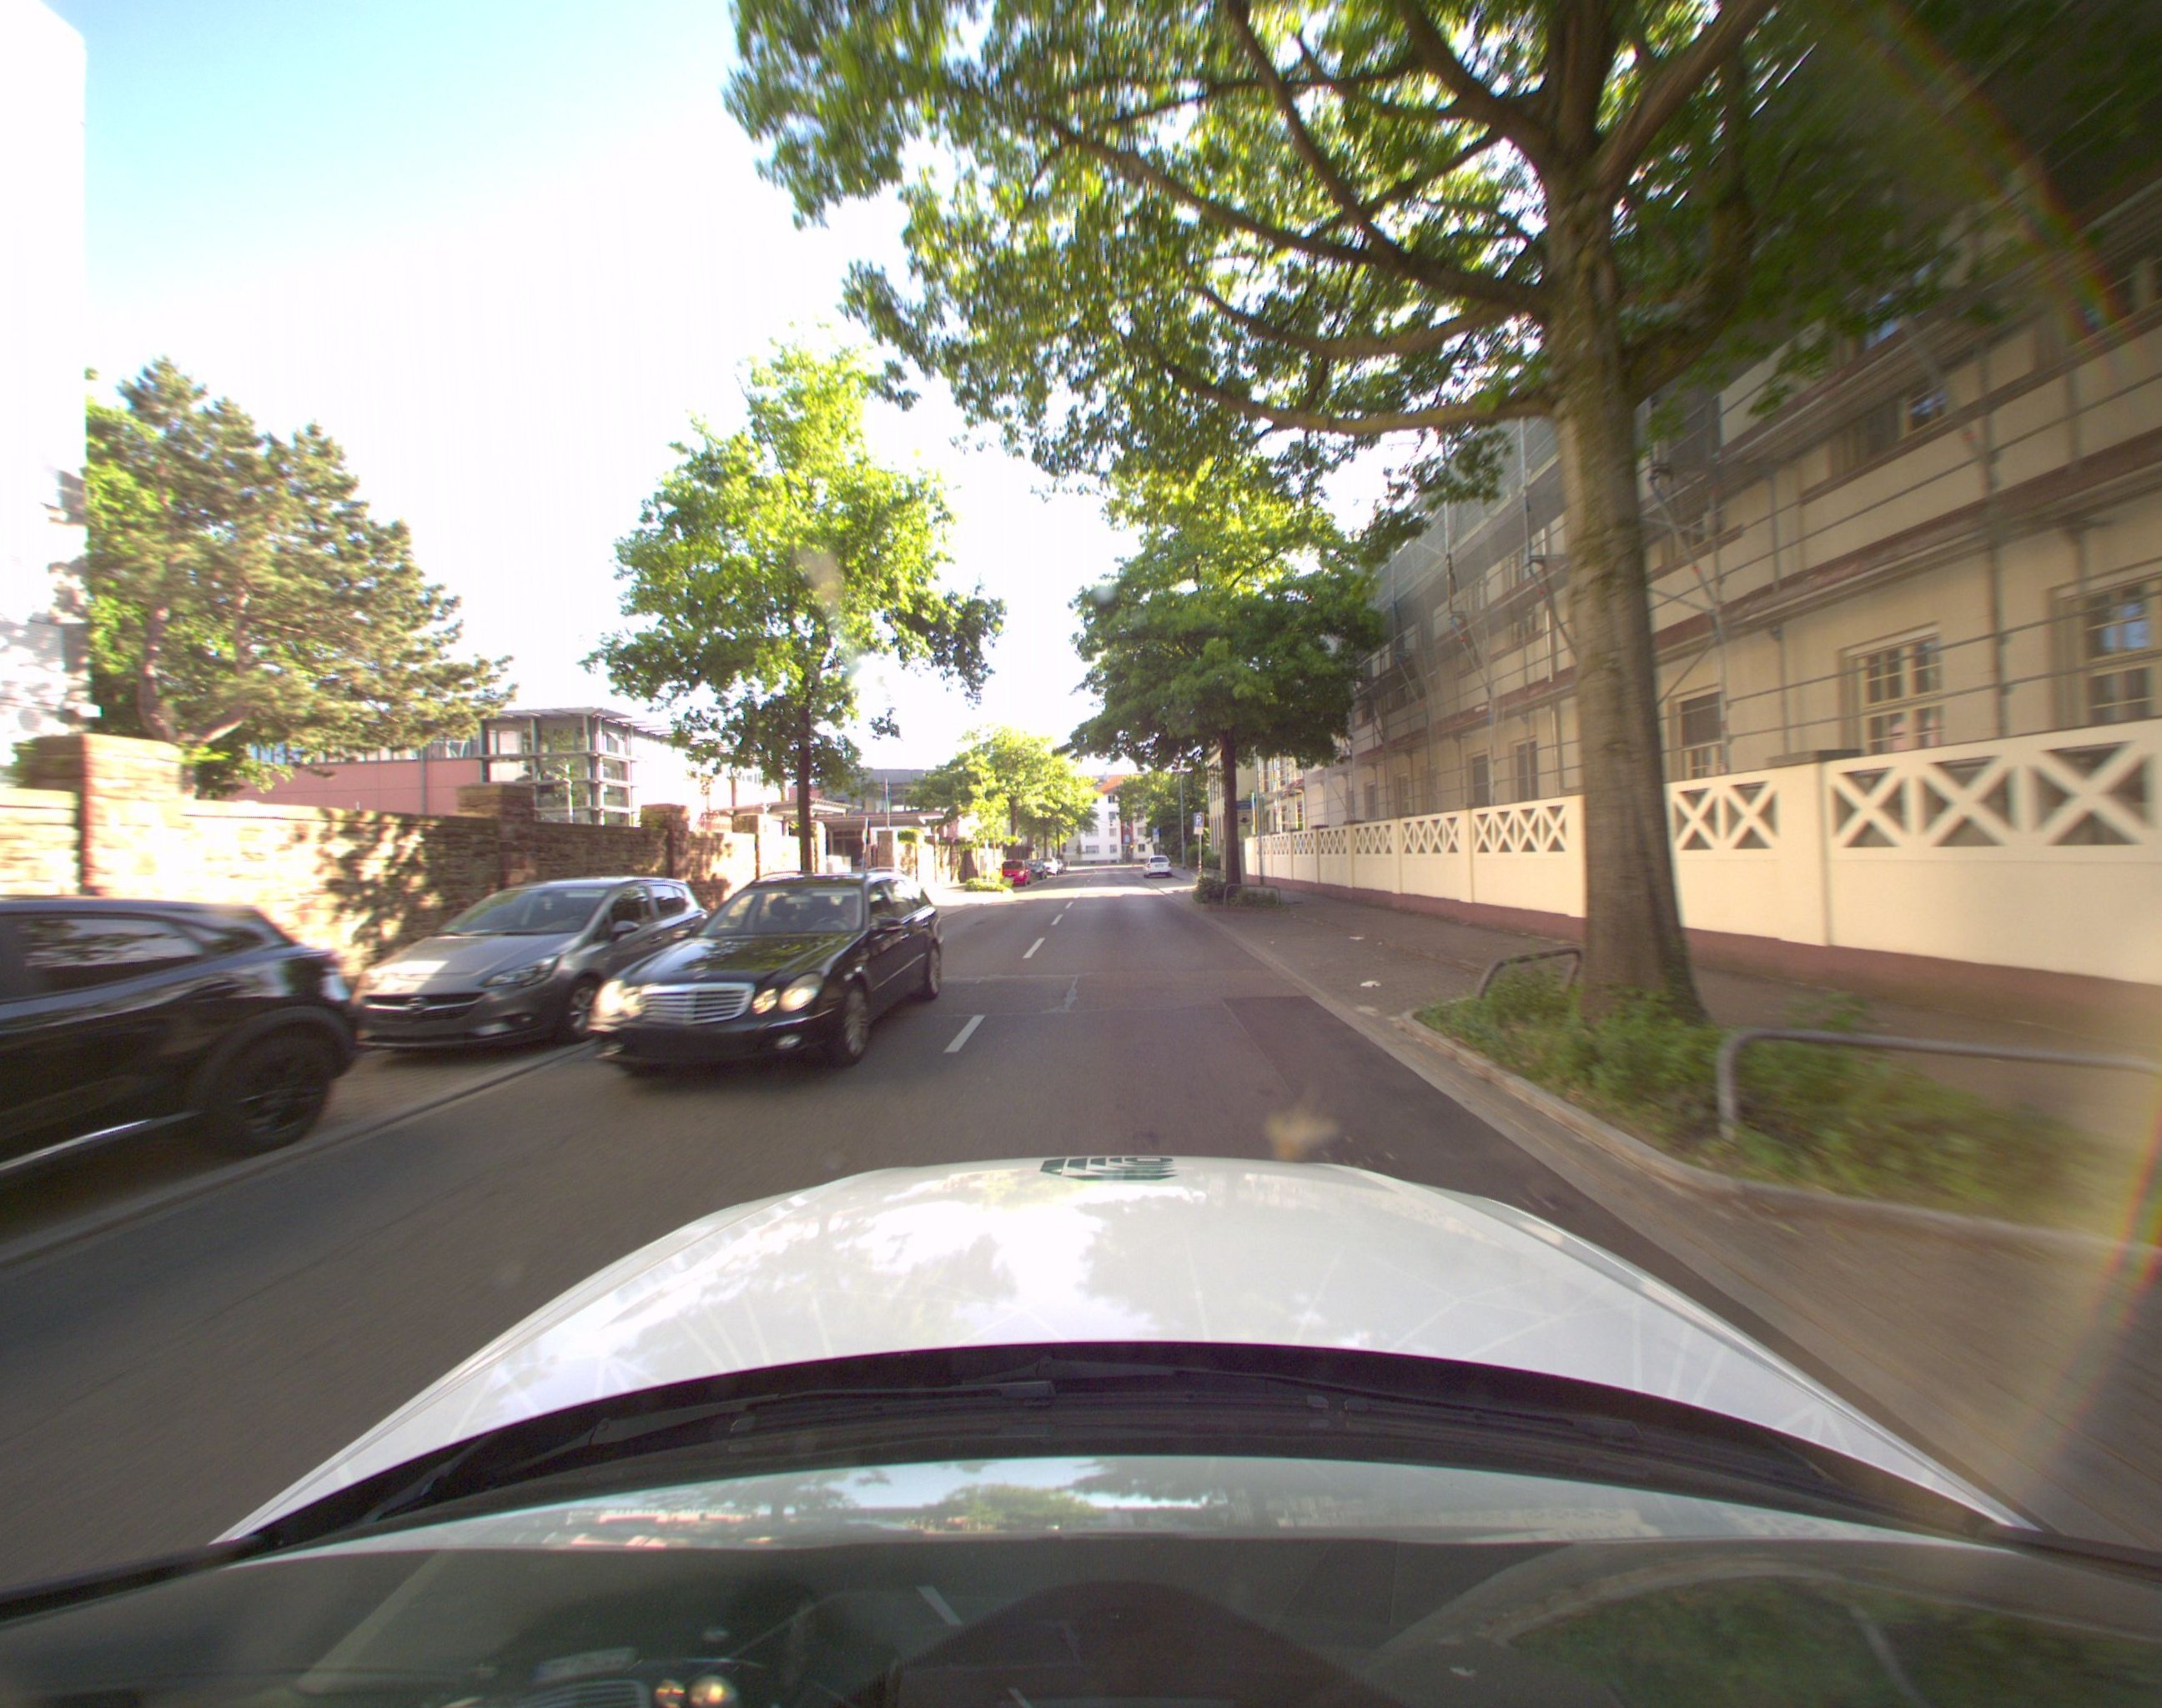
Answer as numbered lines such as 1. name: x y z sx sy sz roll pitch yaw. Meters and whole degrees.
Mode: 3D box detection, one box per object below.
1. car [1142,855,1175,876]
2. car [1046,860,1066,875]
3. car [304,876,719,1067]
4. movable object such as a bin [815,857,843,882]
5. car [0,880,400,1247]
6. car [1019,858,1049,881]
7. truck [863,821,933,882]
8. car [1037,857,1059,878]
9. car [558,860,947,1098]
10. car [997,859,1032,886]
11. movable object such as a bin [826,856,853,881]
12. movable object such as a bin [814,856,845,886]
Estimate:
1. car: 5.147 0.754 54.706 1.826 1.323 4.497 -3 0 1
2. car: -2.528 1.359 83.636 1.720 1.476 4.479 0 0 2
3. car: -5.391 0.986 8.426 1.683 1.422 3.835 0 0 -2
4. movable object such as a bin: -17.425 1.045 56.357 1.202 1.687 2.438 0 0 -1
5. car: -5.416 0.942 3.458 1.568 1.515 4.045 -1 0 1
6. car: -3.438 1.106 60.479 1.730 1.592 4.110 -2 0 3
7. truck: -11.777 -0.115 53.144 2.722 3.711 7.430 0 0 2
8. car: -2.869 1.162 71.263 1.714 1.683 4.351 -2 0 0
9. car: -2.498 0.839 7.376 1.816 1.436 3.969 -3 0 0
10. car: -3.801 1.043 47.168 1.602 1.459 3.710 0 0 2
11. movable object such as a bin: -17.445 1.054 58.936 1.202 1.781 2.672 0 0 -1
12. movable object such as a bin: -16.206 1.093 52.521 1.187 1.864 2.440 0 0 1
